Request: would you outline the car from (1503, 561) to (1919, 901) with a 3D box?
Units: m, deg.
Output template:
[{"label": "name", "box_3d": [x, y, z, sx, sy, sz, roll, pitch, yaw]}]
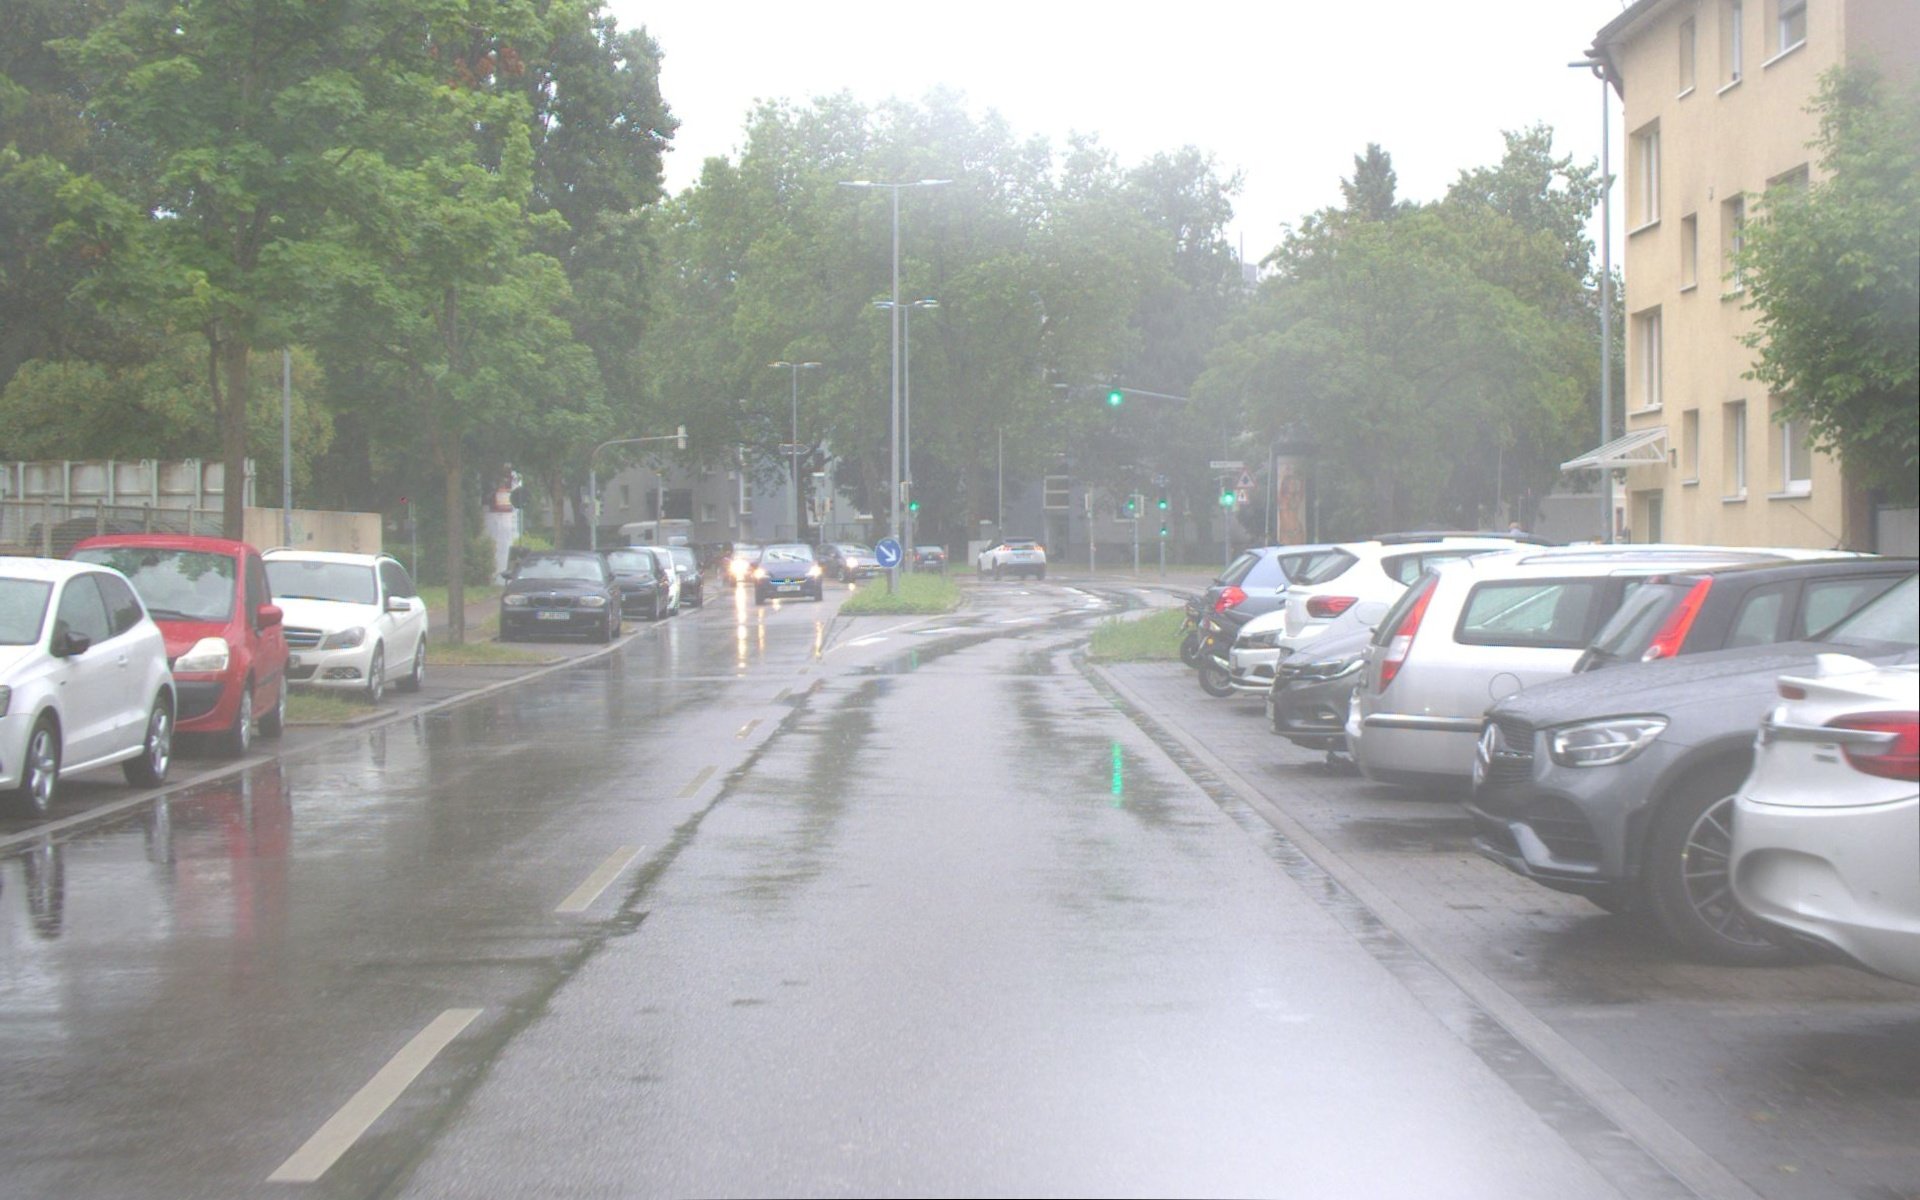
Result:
[{"label": "car", "box_3d": [4.629, 0.572, 15.664, 3.987, 1.407, 1.845, 1, 1, 0]}]

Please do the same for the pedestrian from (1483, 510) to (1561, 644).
[{"label": "pedestrian", "box_3d": [8.598, -0.353, 52.579, 1.011, 2.007, 0.951, 1, 0, 18]}]

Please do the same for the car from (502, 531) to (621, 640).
[{"label": "car", "box_3d": [-6.306, -0.257, 54.271, 1.775, 1.524, 4.001, 1, 2, -7]}]

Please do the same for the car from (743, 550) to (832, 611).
[{"label": "car", "box_3d": [-4.316, -0.495, 86.529, 1.993, 1.480, 4.000, 1, 1, 1]}]

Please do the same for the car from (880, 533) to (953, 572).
[{"label": "car", "box_3d": [-1.732, -1.875, 135.634, 1.849, 1.519, 4.155, 0, 1, -16]}]

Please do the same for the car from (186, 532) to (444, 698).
[{"label": "car", "box_3d": [-6.342, 0.115, 34.248, 1.768, 1.523, 4.598, 1, 1, -1]}]

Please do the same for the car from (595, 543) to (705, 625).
[{"label": "car", "box_3d": [-6.775, -0.365, 75.391, 1.927, 1.725, 4.000, 1, 1, 2]}]

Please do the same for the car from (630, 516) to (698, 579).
[{"label": "car", "box_3d": [-15.512, -2.751, 179.958, 2.219, 3.226, 4.672, 1, 1, -22]}]

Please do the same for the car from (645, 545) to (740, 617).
[{"label": "car", "box_3d": [-6.637, -0.481, 85.666, 1.927, 1.725, 4.000, 1, 1, 2]}]

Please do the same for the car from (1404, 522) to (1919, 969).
[{"label": "car", "box_3d": [4.017, 0.523, 13.119, 4.341, 1.547, 2.040, 1, 1, -1]}]

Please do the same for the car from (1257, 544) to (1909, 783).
[{"label": "car", "box_3d": [4.056, 0.390, 22.856, 3.987, 1.461, 1.782, 1, 1, 0]}]

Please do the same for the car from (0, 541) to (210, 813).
[{"label": "car", "box_3d": [-5.865, 0.380, 20.562, 1.661, 1.455, 4.173, 1, 1, 3]}]

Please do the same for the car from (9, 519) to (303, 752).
[{"label": "car", "box_3d": [-5.971, 0.226, 25.930, 1.624, 1.592, 4.202, 1, 1, -6]}]

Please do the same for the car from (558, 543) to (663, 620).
[{"label": "car", "box_3d": [-6.986, -0.390, 69.075, 1.928, 1.479, 4.001, 0, 1, -3]}]

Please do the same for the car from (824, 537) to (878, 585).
[{"label": "car", "box_3d": [-3.959, -1.395, 124.284, 1.740, 1.683, 4.001, 1, 1, -4]}]

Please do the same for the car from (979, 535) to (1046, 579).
[{"label": "car", "box_3d": [1.825, -1.507, 120.584, 1.849, 1.519, 4.001, 0, 1, -6]}]

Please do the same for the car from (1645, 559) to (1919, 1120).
[{"label": "car", "box_3d": [4.235, 0.634, 9.982, 4.097, 1.453, 2.000, 1, 1, 1]}]

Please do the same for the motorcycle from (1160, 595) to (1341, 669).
[{"label": "motorcycle", "box_3d": [3.378, 0.367, 39.926, 2.073, 0.790, 0.710, 1, 1, 6]}]

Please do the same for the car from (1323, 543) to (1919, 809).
[{"label": "car", "box_3d": [4.242, 0.428, 20.582, 3.987, 1.469, 1.802, 1, 1, 3]}]

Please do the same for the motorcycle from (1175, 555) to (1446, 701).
[{"label": "motorcycle", "box_3d": [3.291, 0.257, 32.423, 2.398, 1.319, 0.920, 1, 0, -5]}]

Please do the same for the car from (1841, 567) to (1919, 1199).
[{"label": "car", "box_3d": [4.129, 0.679, 7.376, 3.987, 1.437, 1.782, 1, 1, -1]}]

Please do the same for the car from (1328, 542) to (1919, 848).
[{"label": "car", "box_3d": [4.110, 0.463, 18.082, 4.270, 1.449, 1.984, 1, 2, 5]}]

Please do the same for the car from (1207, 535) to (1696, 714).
[{"label": "car", "box_3d": [4.304, 0.205, 30.514, 3.986, 1.485, 1.862, 1, 1, -3]}]

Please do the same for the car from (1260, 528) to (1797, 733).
[{"label": "car", "box_3d": [4.555, 0.232, 27.961, 3.986, 1.547, 1.905, 1, 1, -2]}]

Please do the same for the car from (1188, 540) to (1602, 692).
[{"label": "car", "box_3d": [4.408, 0.151, 35.298, 3.987, 1.456, 1.935, 1, 1, 0]}]
